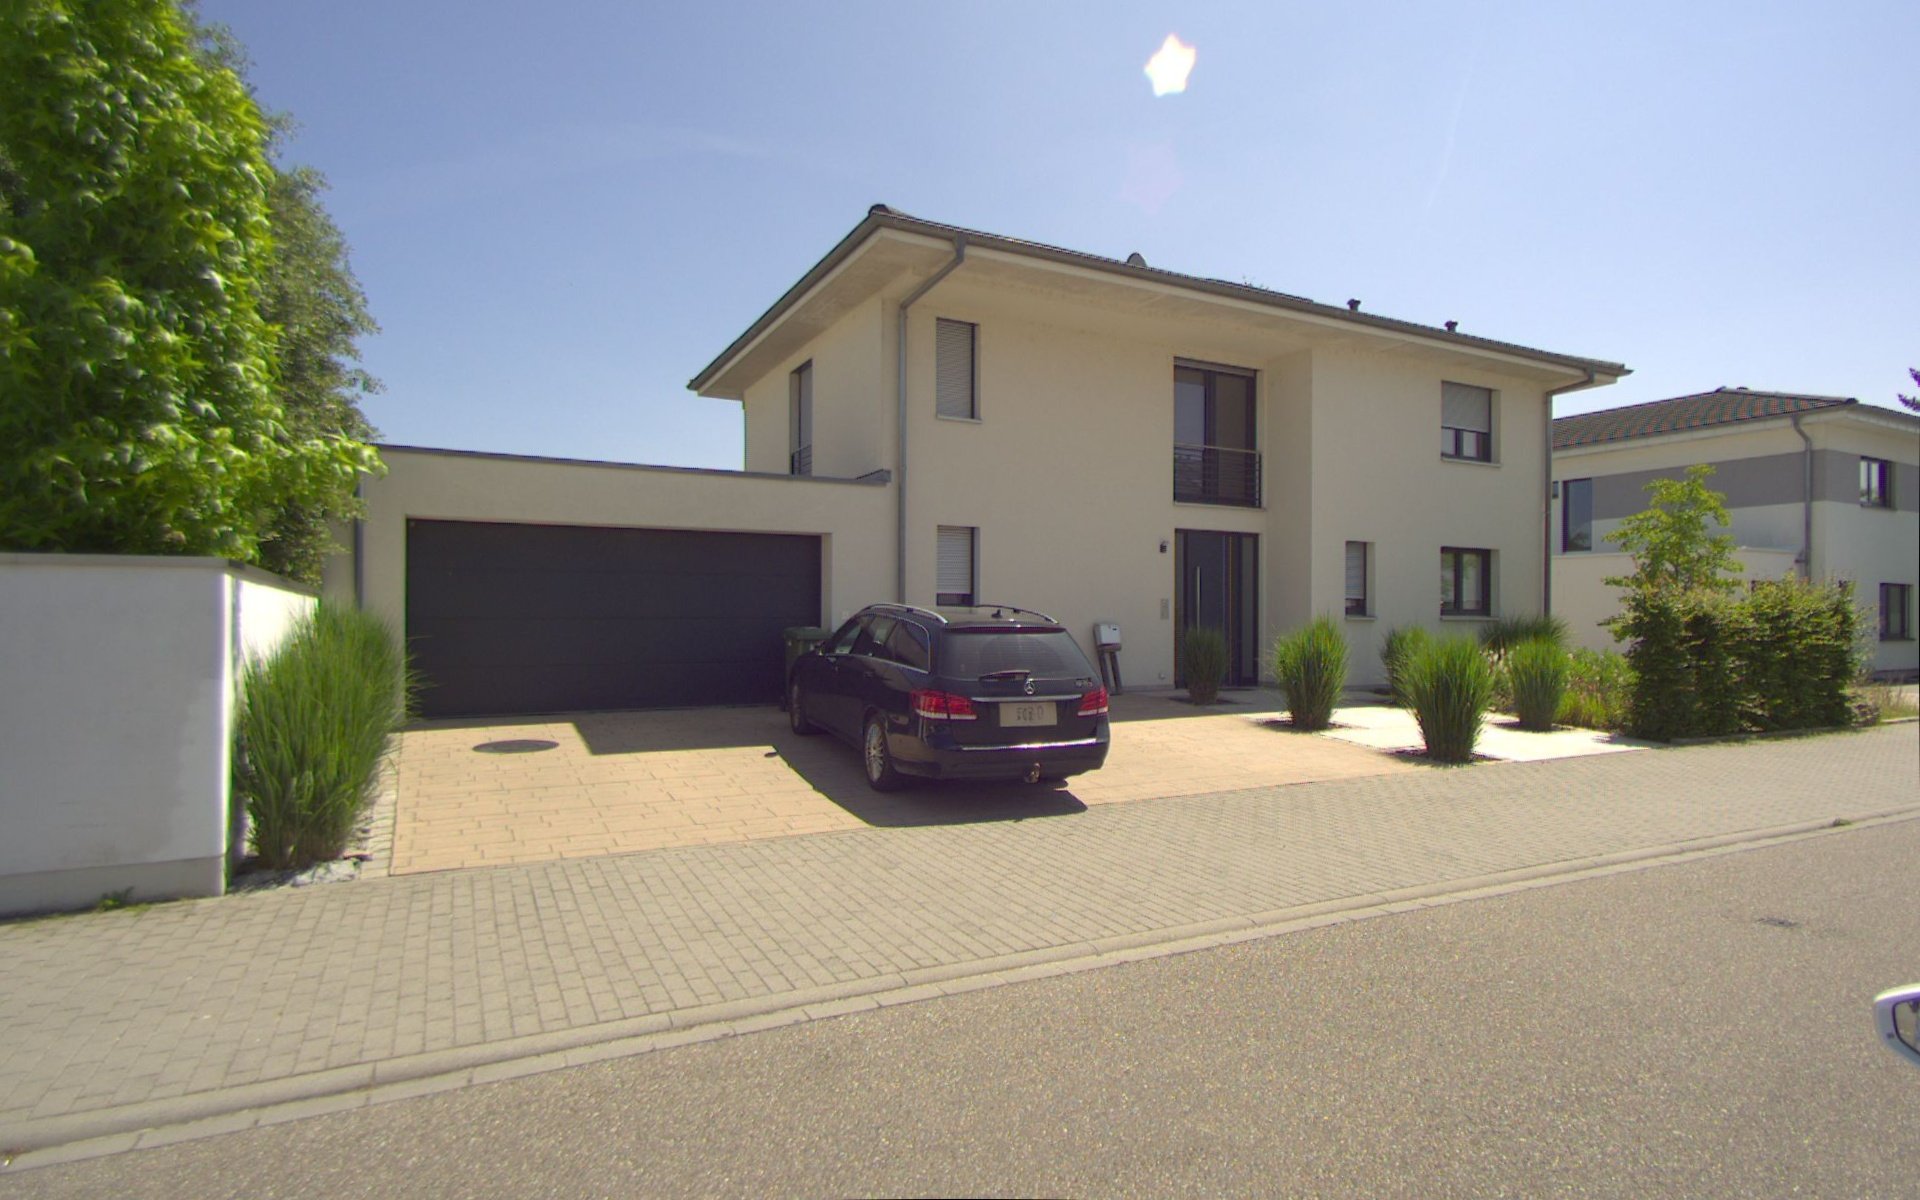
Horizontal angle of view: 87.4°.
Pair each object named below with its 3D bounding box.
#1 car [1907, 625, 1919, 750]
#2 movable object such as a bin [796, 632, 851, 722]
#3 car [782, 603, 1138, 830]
[{"bbox_3d":[13.828,1.084,12.338,4.328,1.508,1.845,1,0,-27],"label":"car"},{"bbox_3d":[-1.708,0.948,12.580,0.584,1.088,0.382,0,0,-34],"label":"movable object such as a bin"},{"bbox_3d":[-0.301,0.847,9.591,1.824,1.493,4.418,0,1,-23],"label":"car"}]
